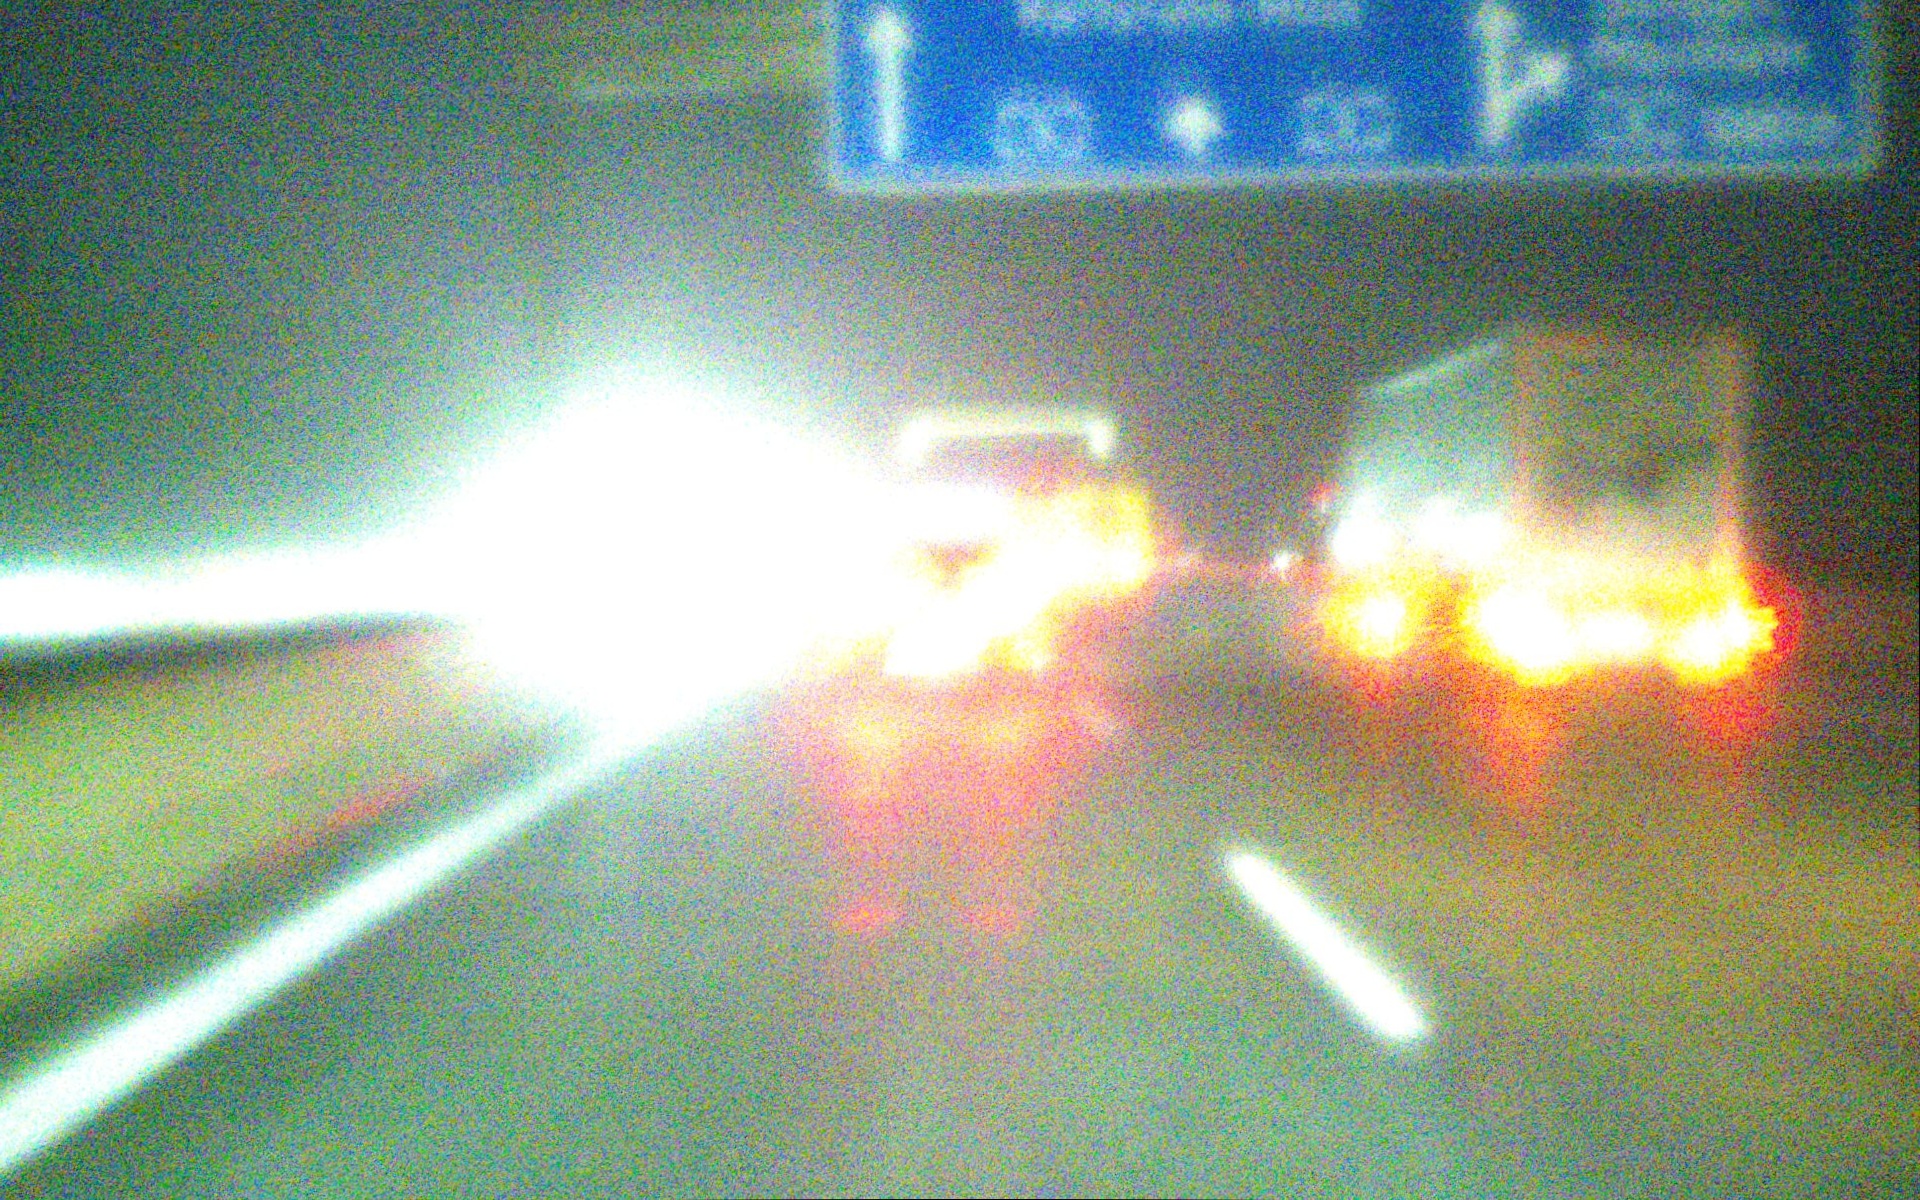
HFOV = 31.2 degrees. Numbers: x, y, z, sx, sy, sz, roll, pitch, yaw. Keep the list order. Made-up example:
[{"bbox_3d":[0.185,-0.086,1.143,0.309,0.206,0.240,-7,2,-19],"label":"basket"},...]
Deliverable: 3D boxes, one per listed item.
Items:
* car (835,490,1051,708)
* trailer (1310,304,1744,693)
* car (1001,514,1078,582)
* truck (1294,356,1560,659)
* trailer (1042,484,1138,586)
[{"bbox_3d":[-0.153,-0.004,34.624,1.993,2.007,4.000,2,0,0],"label":"car"},{"bbox_3d":[6.803,-1.170,43.989,2.903,4.094,14.488,-1,1,-1],"label":"trailer"},{"bbox_3d":[2.461,-1.600,107.561,1.993,2.007,4.000,-2,0,-4],"label":"car"},{"bbox_3d":[6.717,-1.311,50.296,2.903,4.094,6.031,-1,1,-1],"label":"truck"},{"bbox_3d":[5.587,-2.746,150.125,3.041,4.095,13.829,-2,0,-2],"label":"trailer"}]
